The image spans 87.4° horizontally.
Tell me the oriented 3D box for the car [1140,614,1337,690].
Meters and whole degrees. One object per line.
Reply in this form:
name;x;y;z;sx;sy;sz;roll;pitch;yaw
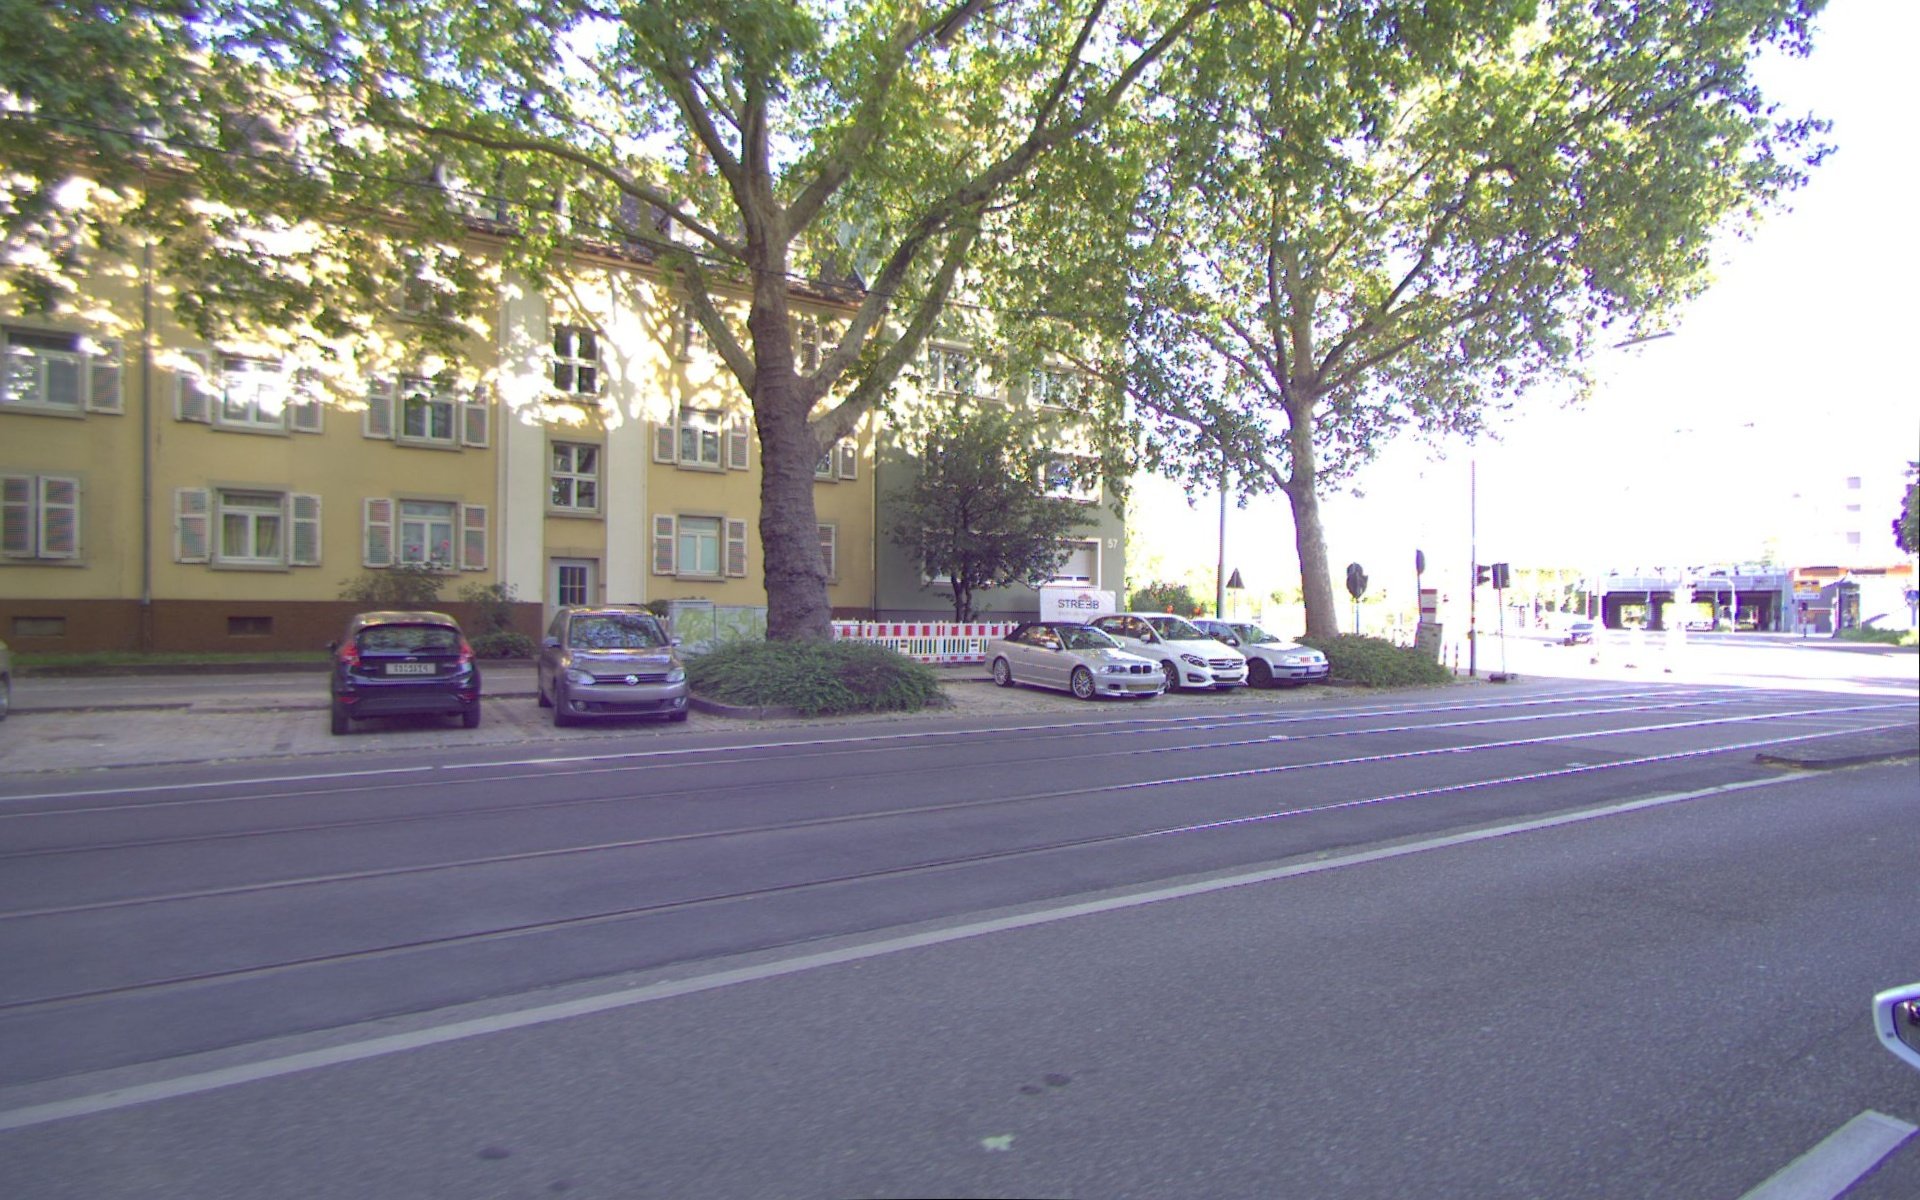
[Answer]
car;6.237;1.113;23.056;1.656;1.448;4.490;1;1;-30

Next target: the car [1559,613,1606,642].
car;36.578;1.601;58.989;1.803;1.539;3.876;3;1;40

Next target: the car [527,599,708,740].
car;-5.149;0.874;14.726;1.793;1.627;4.169;1;1;-29

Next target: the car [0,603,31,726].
car;-12.072;0.807;11.101;1.710;1.489;4.124;2;0;-30

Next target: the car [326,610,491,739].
car;-7.512;0.896;13.612;1.723;1.449;3.545;1;0;-31

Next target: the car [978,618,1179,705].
car;2.188;1.103;19.692;1.708;1.386;4.220;1;0;-30

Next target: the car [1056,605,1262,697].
car;4.150;0.999;21.723;1.777;1.640;4.587;1;1;-30
